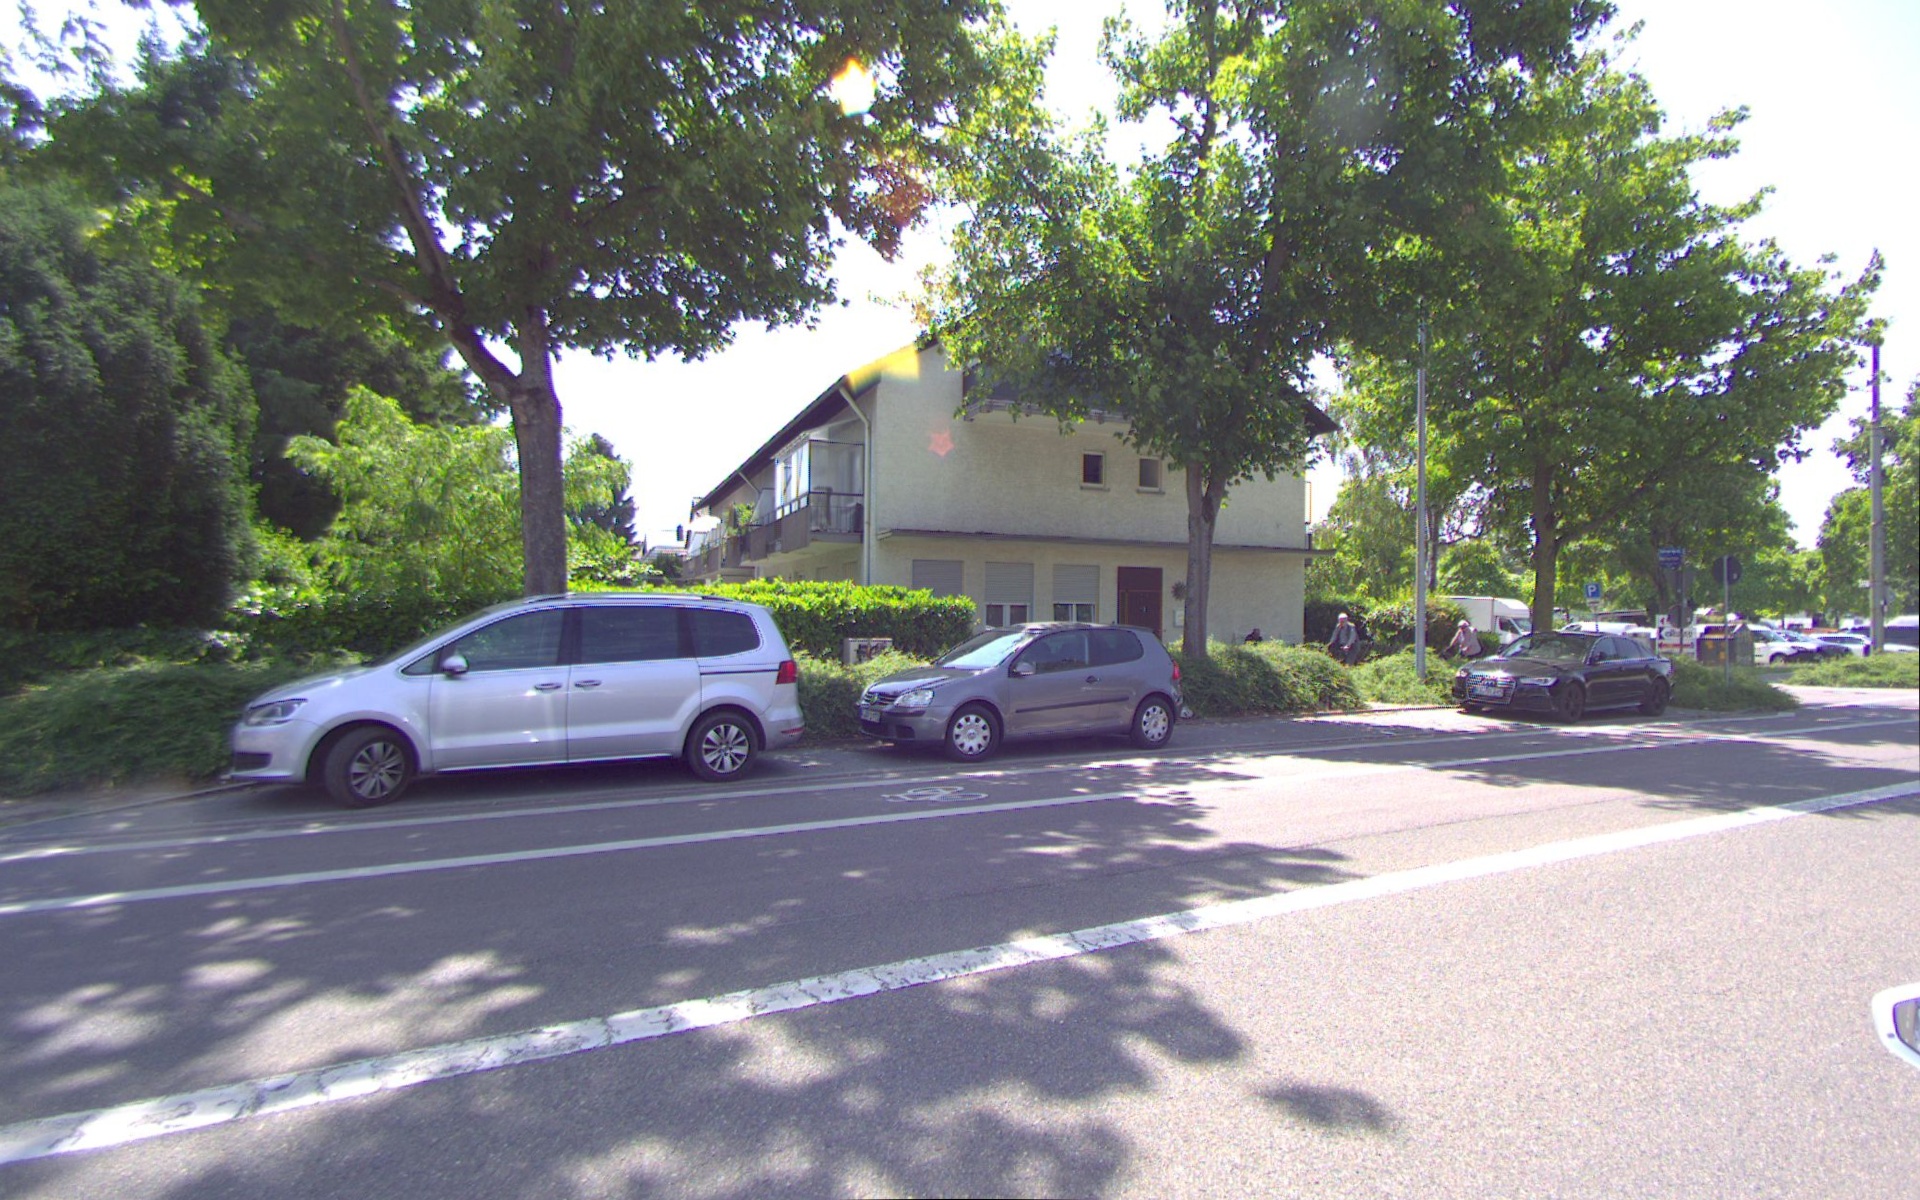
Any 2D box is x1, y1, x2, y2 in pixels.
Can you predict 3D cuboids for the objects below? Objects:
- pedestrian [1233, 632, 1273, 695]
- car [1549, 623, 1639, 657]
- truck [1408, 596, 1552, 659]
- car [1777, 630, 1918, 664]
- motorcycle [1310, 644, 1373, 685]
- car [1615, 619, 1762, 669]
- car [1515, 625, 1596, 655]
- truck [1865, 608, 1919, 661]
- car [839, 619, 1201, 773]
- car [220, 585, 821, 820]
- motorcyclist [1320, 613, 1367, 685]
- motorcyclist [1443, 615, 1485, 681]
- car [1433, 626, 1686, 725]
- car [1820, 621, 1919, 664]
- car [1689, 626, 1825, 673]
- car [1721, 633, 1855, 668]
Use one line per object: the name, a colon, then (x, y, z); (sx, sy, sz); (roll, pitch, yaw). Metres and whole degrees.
pedestrian: (7.346, 1.573, 25.168); (0.599, 1.530, 0.792); (1, -1, -23)
car: (37.437, 2.365, 59.398); (1.948, 1.845, 4.108); (1, -1, -30)
truck: (28.325, 1.427, 55.082); (2.126, 3.270, 6.942); (1, 0, -31)
car: (42.990, 2.257, 48.776); (2.034, 1.508, 4.738); (1, -1, -30)
motorcycle: (8.388, 1.408, 22.058); (1.354, 0.837, 0.523); (1, 2, -29)
car: (29.545, 1.745, 40.863); (2.040, 1.881, 4.421); (1, -1, -34)
car: (34.958, 2.312, 59.026); (1.712, 1.597, 3.729); (1, 0, -30)
truck: (52.326, 1.837, 53.578); (2.402, 2.796, 5.556); (1, -1, -28)
car: (0.780, 1.017, 11.927); (4.082, 1.506, 1.667); (1, 0, -32)
car: (-3.822, 0.780, 9.317); (4.630, 1.711, 1.962); (1, 0, -29)
motorcyclist: (8.427, 1.072, 22.064); (0.716, 1.523, 0.584); (1, 2, -29)
motorcyclist: (12.120, 1.145, 24.152); (0.654, 1.523, 0.584); (1, 2, -29)
car: (10.573, 1.236, 17.618); (4.757, 1.476, 1.883); (1, 0, -33)
car: (45.510, 2.056, 49.647); (1.835, 2.021, 4.189); (1, -1, -30)
car: (33.834, 2.049, 42.778); (1.651, 1.860, 4.251); (1, -1, -27)
car: (36.392, 2.190, 44.234); (2.059, 1.422, 4.171); (1, -1, -33)
